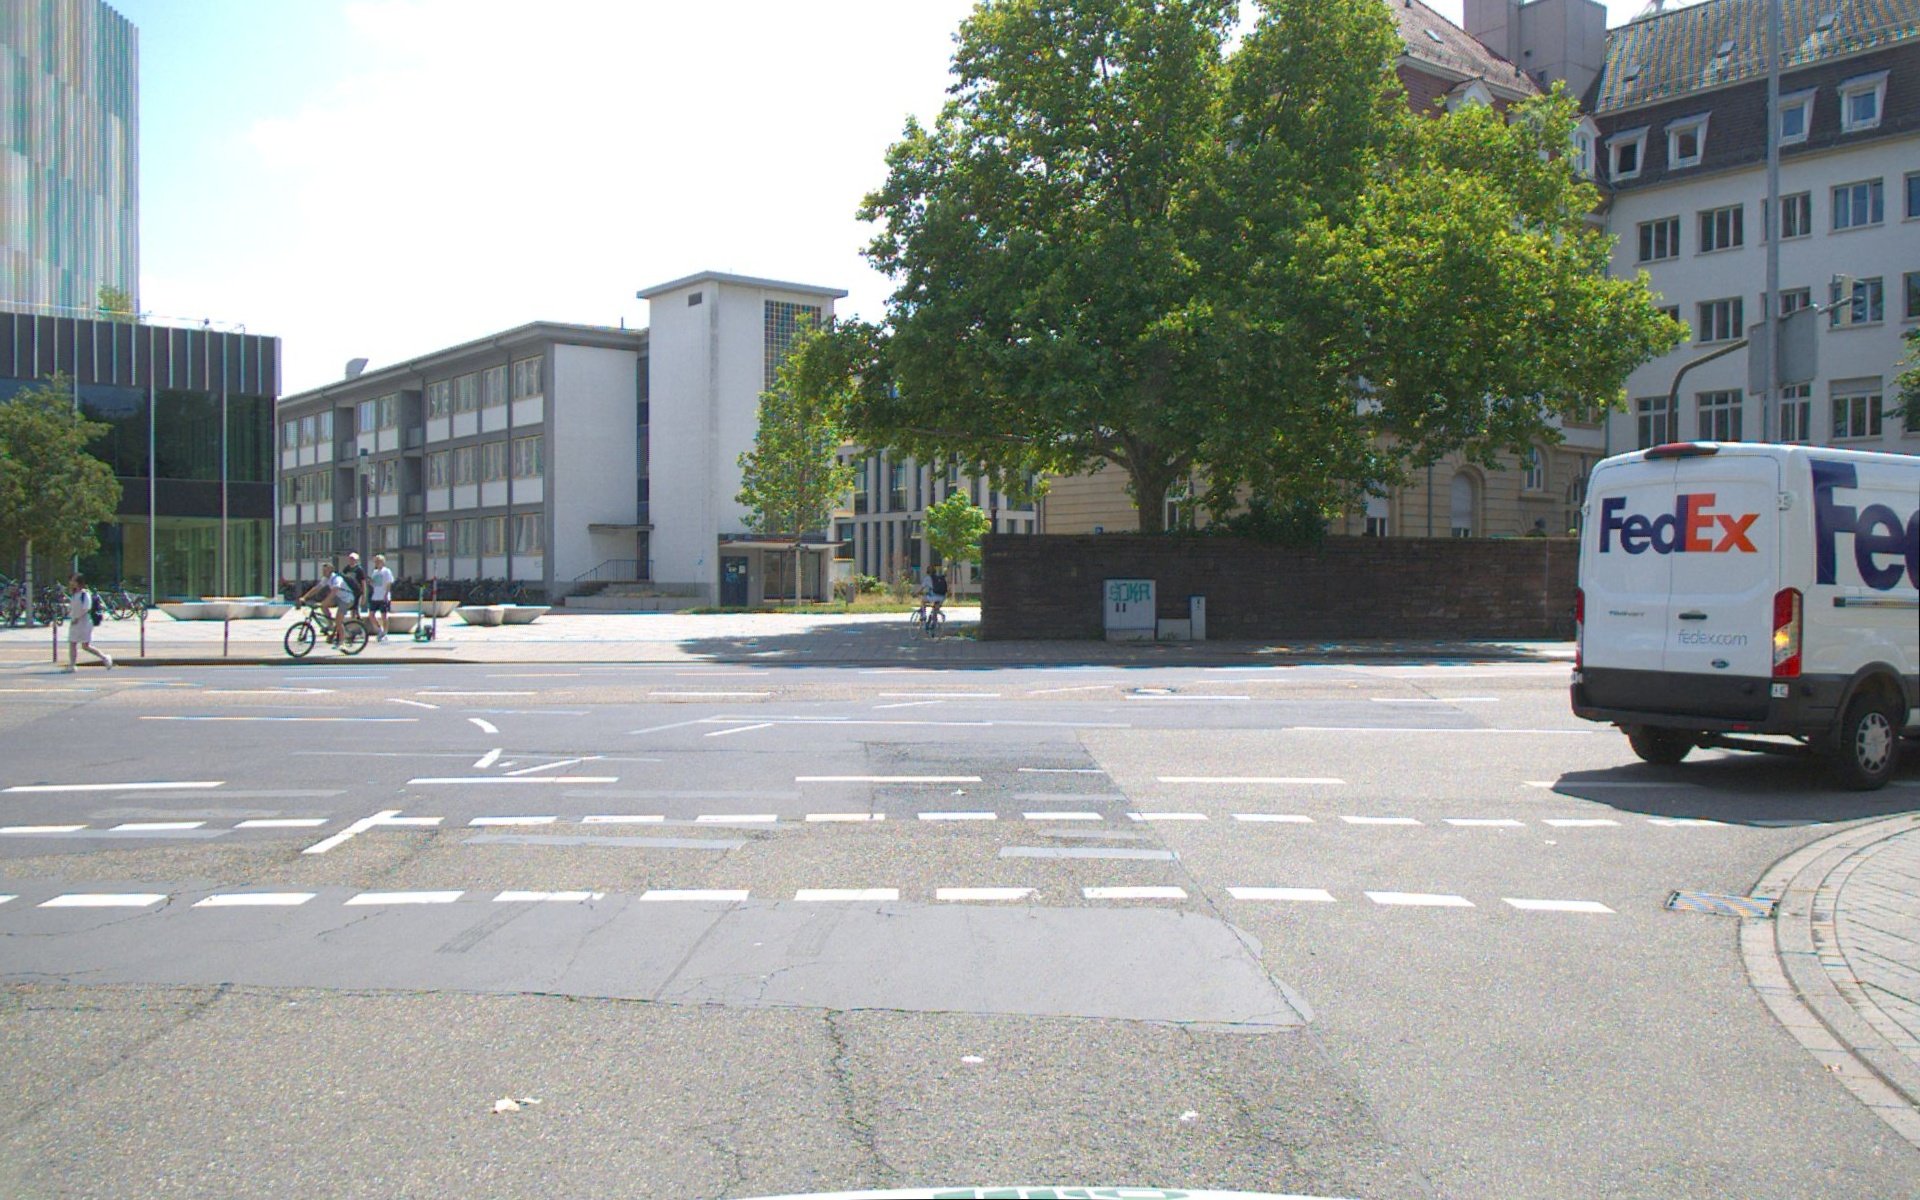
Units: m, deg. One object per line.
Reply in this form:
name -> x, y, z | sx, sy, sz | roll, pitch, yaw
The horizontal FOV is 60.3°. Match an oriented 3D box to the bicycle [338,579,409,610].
bicycle -> -27.478, -0.250, 77.499 | 2.940, 1.387, 1.100 | 0, 0, -42

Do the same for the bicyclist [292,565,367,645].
bicyclist -> -11.931, 0.083, 31.306 | 0.831, 1.493, 1.069 | 0, 1, 18

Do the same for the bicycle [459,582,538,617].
bicycle -> -18.722, 0.000, 67.153 | 2.940, 1.387, 1.100 | 0, 0, -42

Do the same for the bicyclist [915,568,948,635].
bicyclist -> -0.628, 0.031, 36.787 | 0.507, 1.477, 0.782 | 0, 0, -21

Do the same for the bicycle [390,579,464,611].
bicycle -> -23.311, -0.216, 72.379 | 2.940, 1.387, 1.100 | 0, 0, -42

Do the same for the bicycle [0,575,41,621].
bicycle -> -27.592, -0.072, 47.443 | 2.897, 1.259, 1.194 | 1, 0, 40

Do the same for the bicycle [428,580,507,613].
bicycle -> -20.653, -0.139, 69.360 | 2.940, 1.387, 1.256 | 0, 0, -42

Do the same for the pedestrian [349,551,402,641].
pedestrian -> -12.710, -0.096, 35.960 | 0.859, 1.922, 0.901 | 0, 0, -37

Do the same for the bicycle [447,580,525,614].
bicycle -> -19.531, -0.121, 68.187 | 2.940, 1.387, 1.100 | 0, 0, -42

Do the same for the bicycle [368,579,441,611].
bicycle -> -24.938, -0.208, 74.324 | 2.940, 1.387, 1.100 | 0, 0, -42

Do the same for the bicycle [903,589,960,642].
bicycle -> -0.650, 0.325, 36.819 | 0.542, 1.150, 2.160 | 0, 0, -22

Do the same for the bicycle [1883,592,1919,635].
bicycle -> 23.621, 0.308, 39.949 | 2.336, 1.011, 0.753 | 0, 1, -9

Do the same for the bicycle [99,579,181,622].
bicycle -> -24.875, 0.010, 50.145 | 2.897, 1.259, 1.194 | 1, 0, 40

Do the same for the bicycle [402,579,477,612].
bicycle -> -22.457, -0.206, 71.391 | 2.940, 1.387, 1.100 | 0, 0, -42

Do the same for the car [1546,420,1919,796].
car -> 7.600, 0.010, 13.804 | 5.526, 2.611, 2.080 | -1, 1, -31

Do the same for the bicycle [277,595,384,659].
bicycle -> -11.911, 0.491, 31.353 | 0.830, 1.165, 1.996 | 0, 1, 18

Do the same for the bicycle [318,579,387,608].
bicycle -> -29.511, -0.299, 80.357 | 2.940, 1.387, 1.100 | 0, 0, -42

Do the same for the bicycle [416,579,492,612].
bicycle -> -21.490, -0.184, 70.307 | 2.940, 1.387, 1.100 | 0, 0, -42

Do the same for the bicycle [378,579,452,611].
bicycle -> -24.146, -0.201, 73.365 | 2.940, 1.387, 1.100 | 0, 0, -42

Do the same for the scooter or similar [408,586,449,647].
scooter or similar -> -11.389, 0.328, 35.404 | 0.706, 1.198, 2.708 | 0, 1, -21

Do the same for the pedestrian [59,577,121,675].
pedestrian -> -13.918, 0.403, 26.465 | 0.814, 1.550, 0.809 | 0, 0, -24

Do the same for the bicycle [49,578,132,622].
bicycle -> -25.883, -0.015, 49.229 | 2.897, 1.259, 1.194 | 1, 0, 40

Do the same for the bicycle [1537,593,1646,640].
bicycle -> 14.736, 0.376, 38.615 | 2.336, 1.077, 0.753 | 0, 1, -9

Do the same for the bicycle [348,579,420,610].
bicycle -> -26.484, -0.233, 76.096 | 2.940, 1.387, 1.100 | 0, 0, -42

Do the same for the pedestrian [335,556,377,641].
pedestrian -> -13.351, -0.041, 36.580 | 0.664, 1.846, 0.805 | 0, 0, -38

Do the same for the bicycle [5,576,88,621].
bicycle -> -26.757, -0.052, 48.431 | 2.897, 1.259, 1.194 | 1, 0, 40

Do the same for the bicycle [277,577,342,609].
bicycle -> -33.784, -0.357, 85.927 | 2.940, 1.602, 1.100 | 1, 0, -42

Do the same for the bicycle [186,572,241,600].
bicycle -> -43.505, -0.805, 96.462 | 1.092, 1.602, 2.965 | 1, 0, 22
